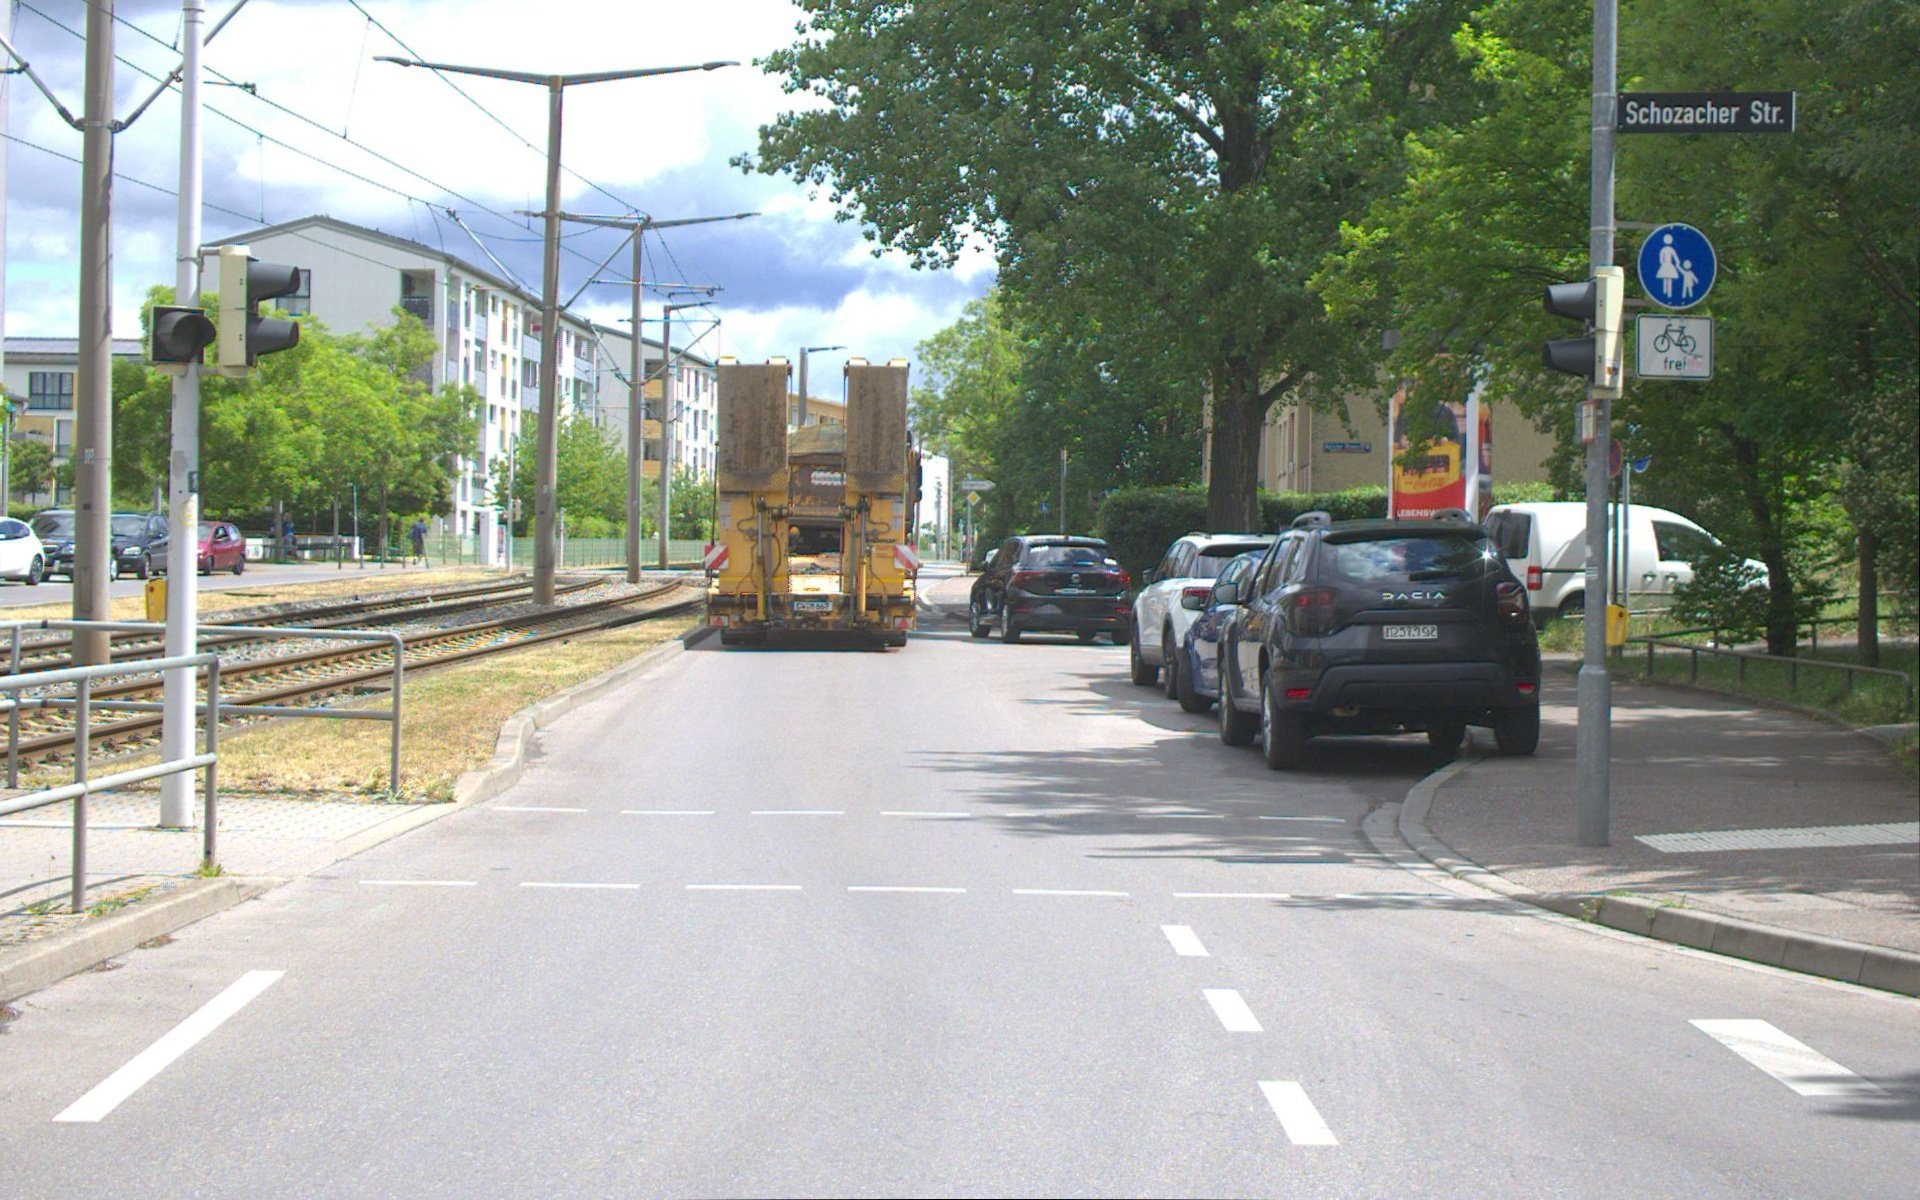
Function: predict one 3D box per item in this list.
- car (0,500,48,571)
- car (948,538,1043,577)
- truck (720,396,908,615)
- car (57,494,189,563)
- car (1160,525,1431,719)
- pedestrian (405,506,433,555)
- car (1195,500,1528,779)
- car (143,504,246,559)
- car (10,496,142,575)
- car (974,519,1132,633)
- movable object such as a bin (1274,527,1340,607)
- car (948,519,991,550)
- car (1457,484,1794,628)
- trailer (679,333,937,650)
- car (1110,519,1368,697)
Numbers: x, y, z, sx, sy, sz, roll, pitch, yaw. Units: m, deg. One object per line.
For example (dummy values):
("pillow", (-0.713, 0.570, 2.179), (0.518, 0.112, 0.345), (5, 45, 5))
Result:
("car", (-20.749, -1.356, 71.983), (1.754, 1.470, 4.399), (0, 2, 6))
("car", (1.469, -1.759, 141.780), (3.600, 1.579, 1.999), (0, 0, 13))
("truck", (-2.322, -1.562, 56.033), (2.833, 3.319, 7.985), (0, 2, -2))
("car", (-20.362, -1.767, 83.800), (1.994, 1.642, 4.100), (0, 2, 3))
("car", (2.723, 0.126, 28.738), (1.643, 1.453, 4.077), (0, 2, -3))
("pedestrian", (-18.136, -2.336, 115.230), (0.749, 1.656, 0.869), (0, 2, 5))
("car", (2.722, 0.185, 24.237), (1.643, 1.756, 4.570), (0, 2, -2))
("car", (-20.167, -1.819, 90.685), (1.614, 1.421, 3.422), (0, 2, 7))
("car", (-19.945, -1.475, 77.723), (1.993, 1.657, 4.100), (2, 2, -2))
("car", (1.220, -0.354, 46.484), (1.815, 1.444, 3.827), (0, 2, -3))
("movable object such as a bin", (6.274, -0.605, 62.152), (1.098, 1.434, 0.761), (0, 2, -2))
("car", (0.457, -3.087, 160.483), (1.993, 1.382, 4.000), (0, 2, 0))
("car", (8.715, -0.607, 45.054), (3.986, 1.816, 1.811), (-1, 2, -23))
("trailer", (-1.961, -1.478, 46.617), (3.050, 3.759, 11.614), (0, 2, -2))
("car", (2.634, 0.019, 33.486), (1.783, 1.560, 4.571), (0, 2, -5))
